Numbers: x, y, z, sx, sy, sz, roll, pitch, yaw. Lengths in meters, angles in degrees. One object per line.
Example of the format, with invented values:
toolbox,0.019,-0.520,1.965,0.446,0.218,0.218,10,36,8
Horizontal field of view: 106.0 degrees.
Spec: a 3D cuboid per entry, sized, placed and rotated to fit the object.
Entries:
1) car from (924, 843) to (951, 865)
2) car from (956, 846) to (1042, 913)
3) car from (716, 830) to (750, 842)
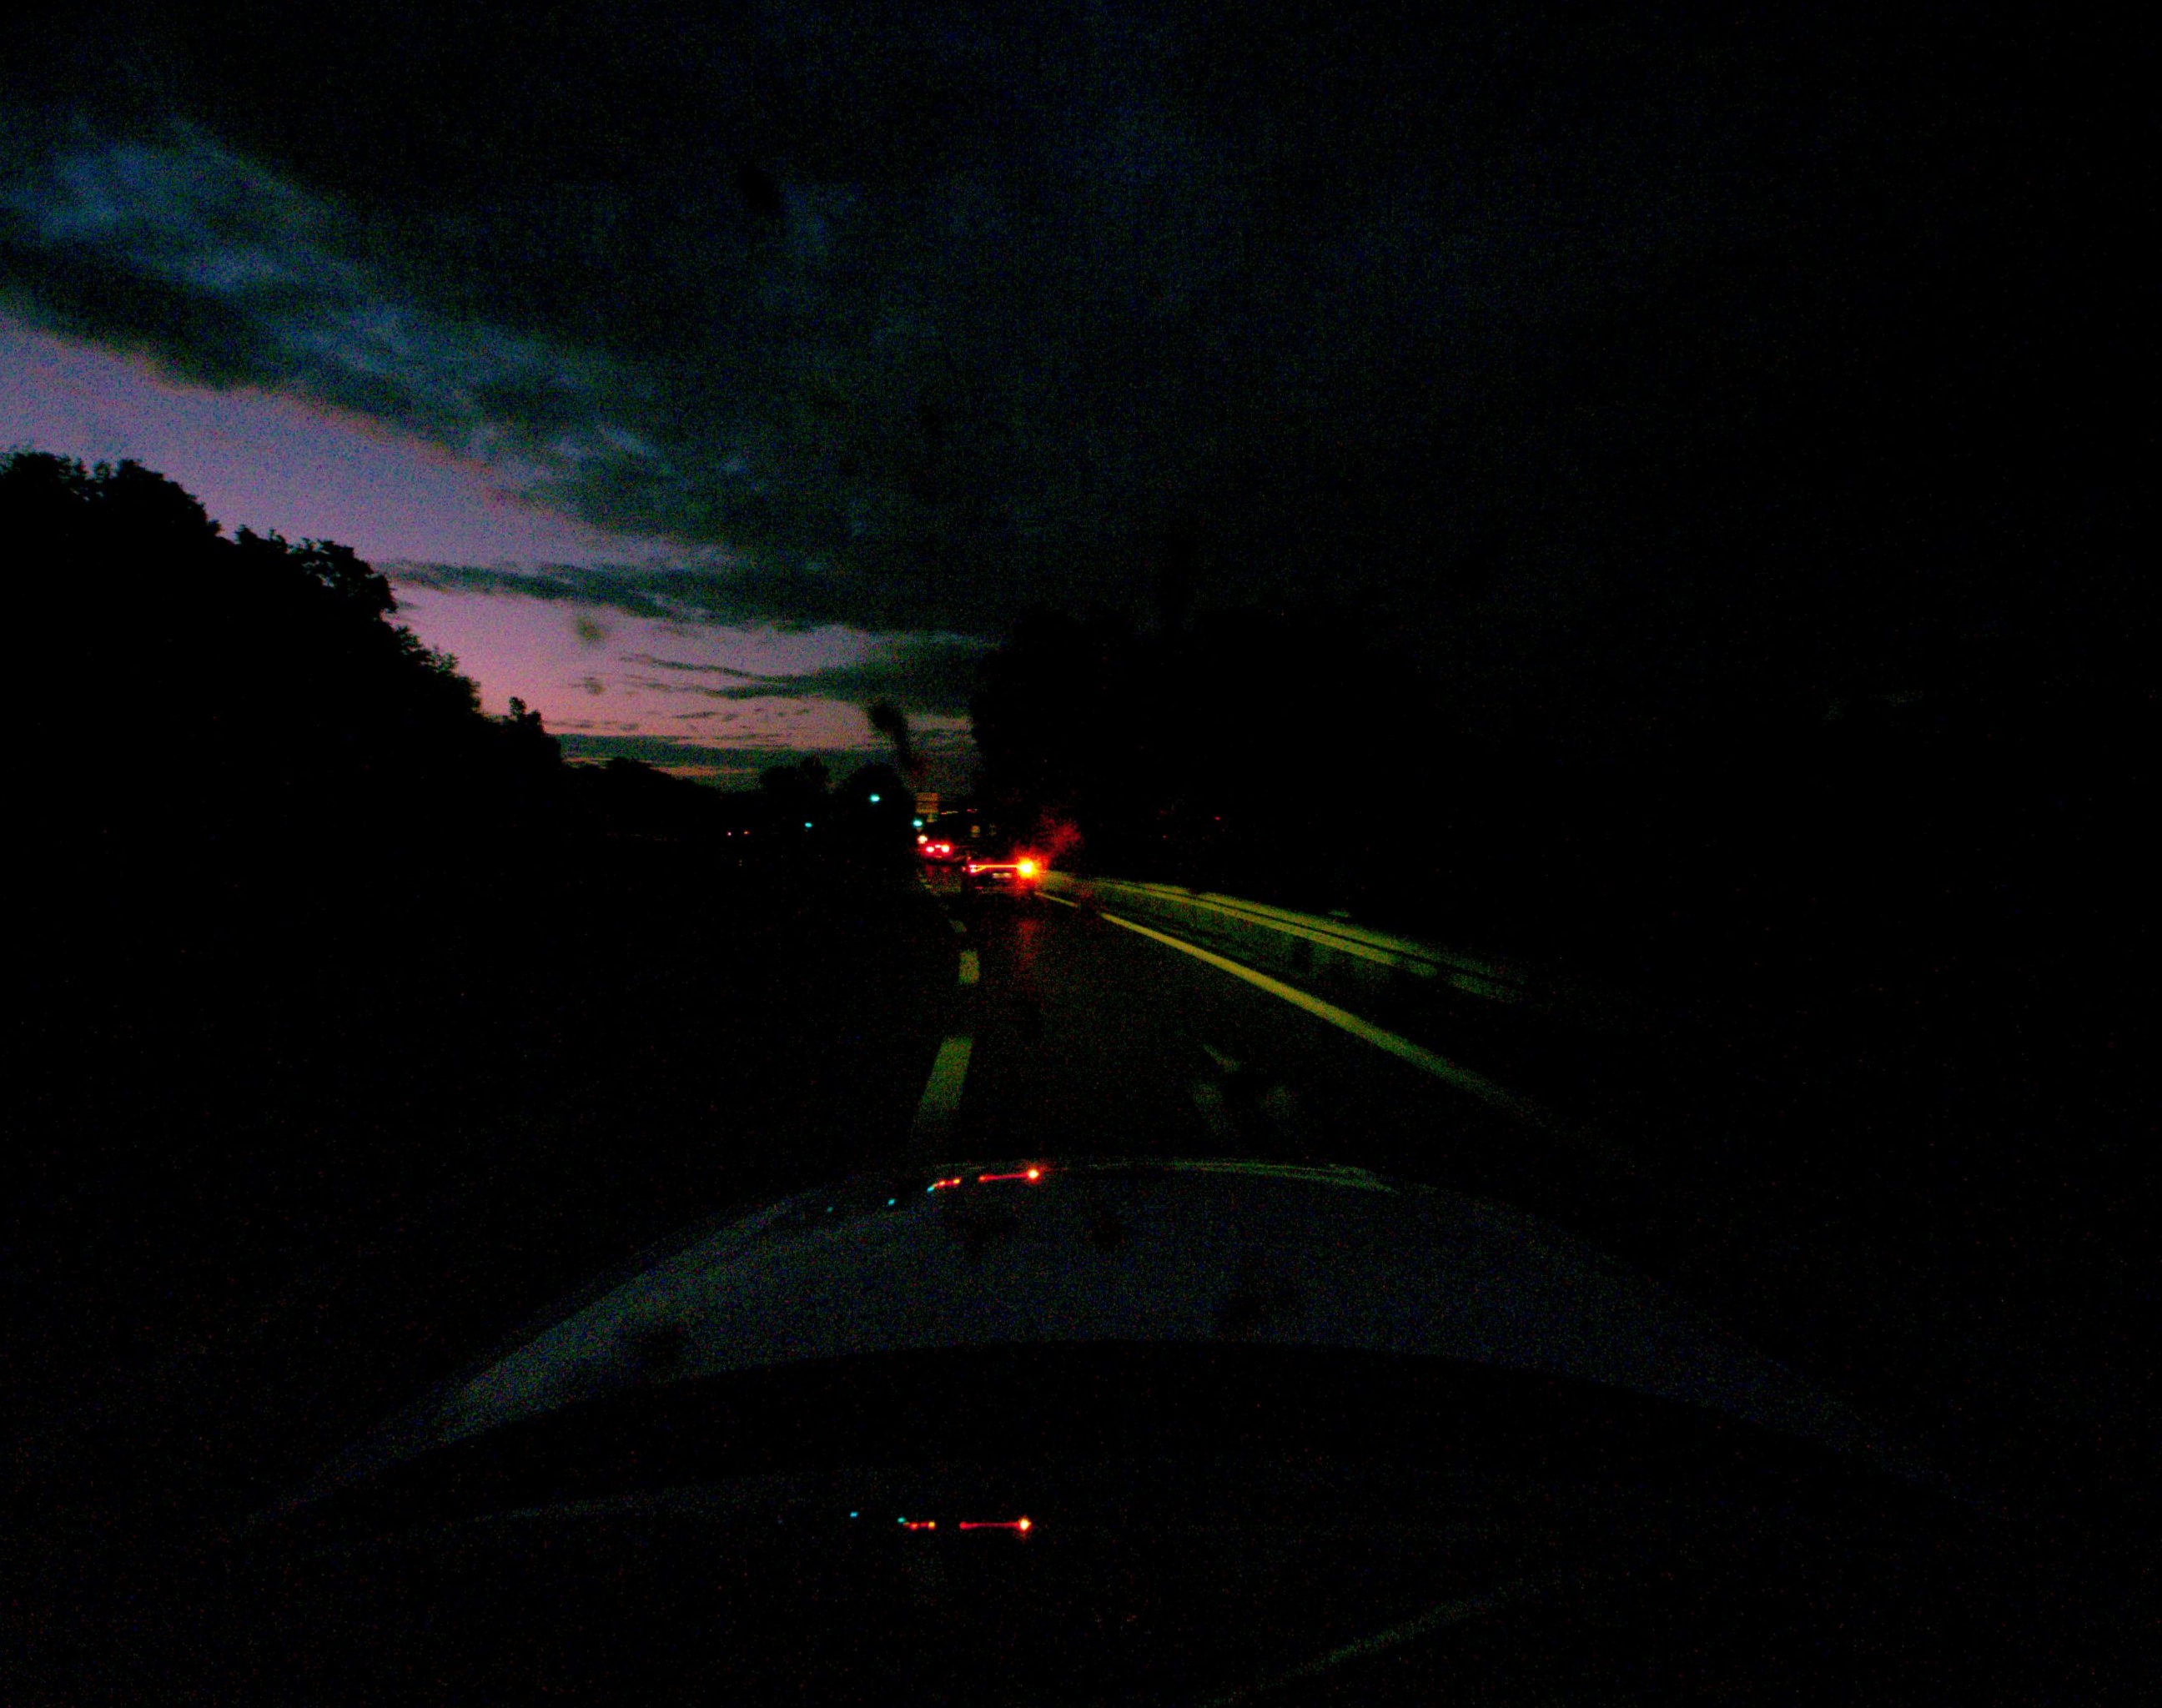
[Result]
car,-11.399,0.046,64.636,1.784,1.653,3.980,0,-1,-15
car,-2.416,0.640,22.846,1.902,1.619,4.538,-2,0,-12
car,-45.636,-2.346,106.828,4.009,1.453,1.983,1,0,-28
